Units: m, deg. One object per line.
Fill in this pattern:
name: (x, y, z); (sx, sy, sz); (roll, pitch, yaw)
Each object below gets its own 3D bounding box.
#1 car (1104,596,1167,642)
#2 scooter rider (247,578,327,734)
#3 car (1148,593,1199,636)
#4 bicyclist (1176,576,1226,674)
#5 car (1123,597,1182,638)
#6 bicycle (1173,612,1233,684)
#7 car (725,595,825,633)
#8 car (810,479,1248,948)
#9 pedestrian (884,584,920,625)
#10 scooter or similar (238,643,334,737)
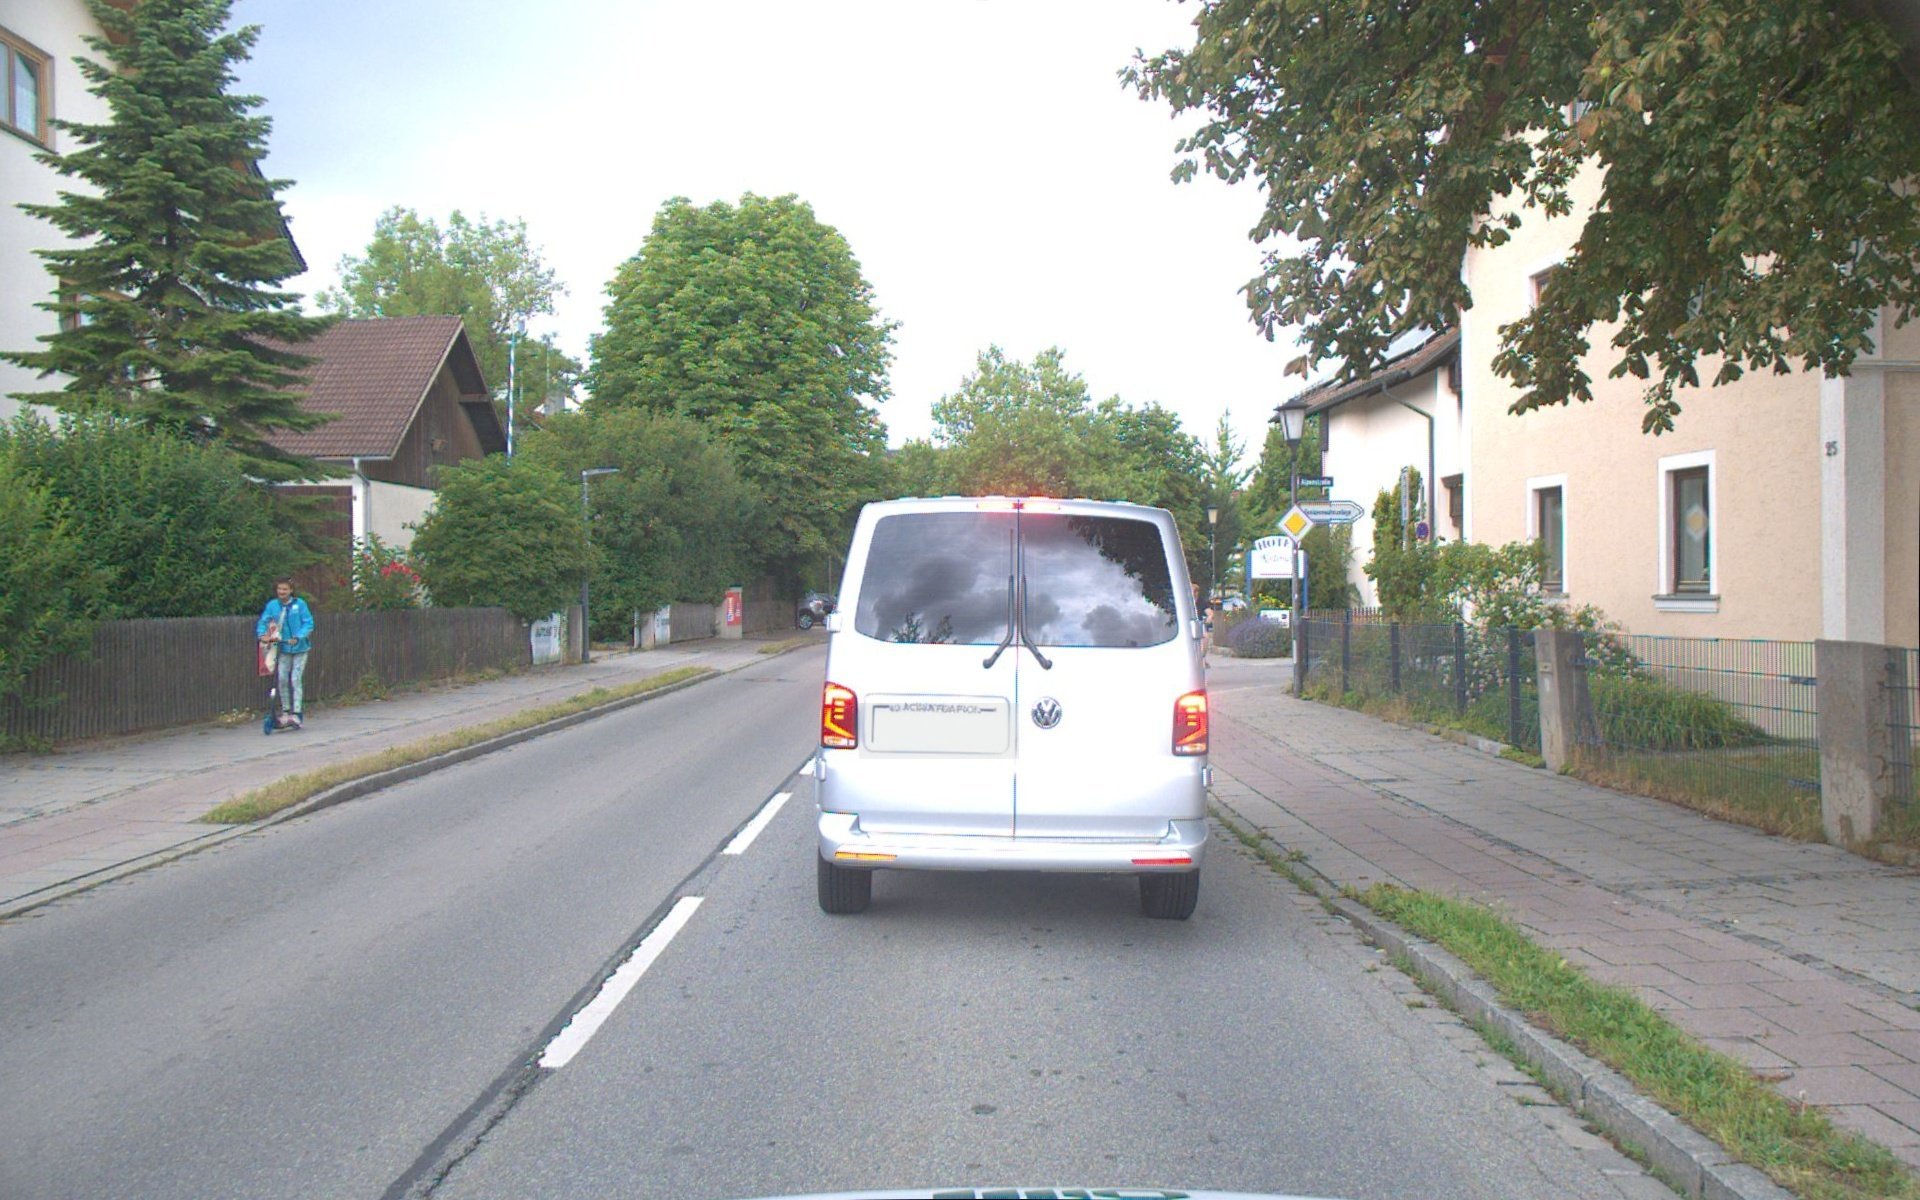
car: (6.231, 0.635, 58.407); (1.841, 1.562, 3.924); (0, 0, 11)
scooter rider: (-6.660, 0.542, 16.381); (0.492, 1.515, 0.716); (0, 0, 0)
car: (9.241, 0.601, 71.334); (1.841, 1.779, 4.084); (0, 0, 12)
bicyclist: (4.158, 0.418, 28.567); (0.721, 1.661, 0.890); (1, 0, 1)
car: (7.533, 0.653, 64.531); (1.841, 1.562, 3.924); (0, 0, 13)
bicycle: (4.182, 0.803, 28.571); (0.749, 1.163, 1.845); (-2, 0, 1)
car: (-7.400, 0.553, 66.019); (3.913, 1.512, 1.996); (0, 0, -9)
car: (0.305, 0.474, 8.939); (1.842, 1.974, 3.920); (0, 0, 0)
pedestrian: (-2.622, 0.216, 75.120); (1.047, 1.834, 1.318); (0, 0, 35)
scooter or similar: (-6.656, 0.879, 16.380); (0.511, 0.865, 1.061); (0, 0, 0)
